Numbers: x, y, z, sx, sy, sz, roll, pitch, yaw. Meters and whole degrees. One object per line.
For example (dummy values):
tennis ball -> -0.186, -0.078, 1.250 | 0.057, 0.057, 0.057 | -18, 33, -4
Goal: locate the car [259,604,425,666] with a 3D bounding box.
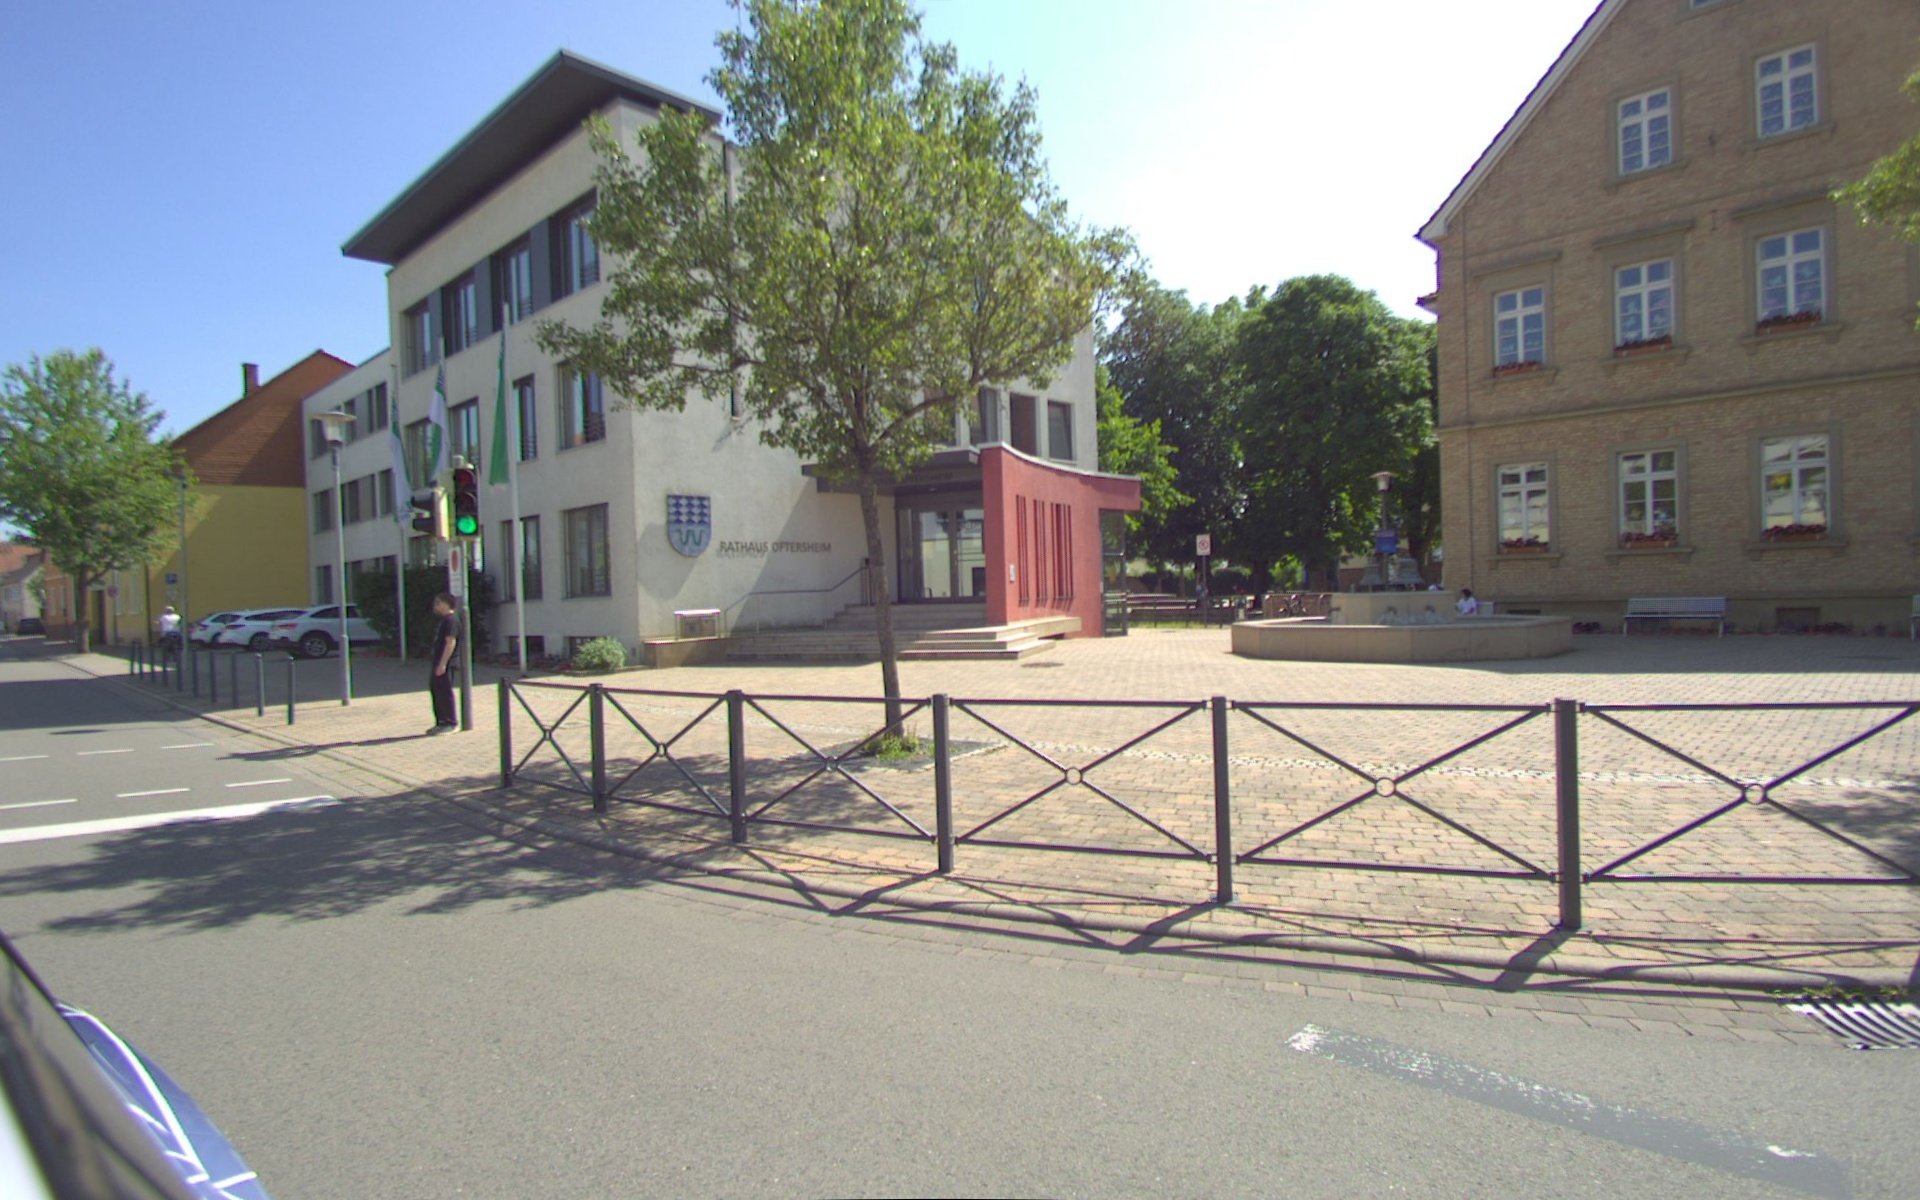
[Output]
car -> -18.674, 1.010, 30.695 | 1.749, 1.559, 3.944 | -2, 1, 43

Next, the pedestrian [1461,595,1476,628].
pedestrian -> 11.558, 0.266, 23.001 | 0.288, 0.738, 0.354 | -2, 0, 28

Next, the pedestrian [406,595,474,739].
pedestrian -> -6.087, 0.760, 11.878 | 0.541, 1.631, 0.558 | -1, 1, -11

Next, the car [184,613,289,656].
car -> -28.503, 1.327, 39.897 | 3.095, 1.461, 1.643 | -4, 1, -45

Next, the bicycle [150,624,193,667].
bicycle -> -24.749, 1.420, 31.750 | 1.972, 1.261, 0.701 | -2, 1, 42

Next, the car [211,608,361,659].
car -> -24.372, 1.167, 36.694 | 1.514, 1.489, 4.265 | -1, 2, 45

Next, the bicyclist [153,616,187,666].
bicyclist -> -24.840, 1.277, 31.822 | 0.871, 1.518, 0.706 | -2, -1, 42

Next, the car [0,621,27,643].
car -> -82.779, 2.769, 88.330 | 4.001, 1.829, 1.801 | -2, 0, 44

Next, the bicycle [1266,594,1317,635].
bicycle -> 9.328, 0.408, 28.404 | 0.580, 1.013, 1.927 | -2, 2, 43

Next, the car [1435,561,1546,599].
car -> 30.009, -1.080, 57.380 | 5.274, 1.952, 1.974 | -2, 0, 40

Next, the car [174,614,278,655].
car -> -30.039, 1.389, 41.488 | 1.374, 1.412, 3.214 | -2, 1, 43
